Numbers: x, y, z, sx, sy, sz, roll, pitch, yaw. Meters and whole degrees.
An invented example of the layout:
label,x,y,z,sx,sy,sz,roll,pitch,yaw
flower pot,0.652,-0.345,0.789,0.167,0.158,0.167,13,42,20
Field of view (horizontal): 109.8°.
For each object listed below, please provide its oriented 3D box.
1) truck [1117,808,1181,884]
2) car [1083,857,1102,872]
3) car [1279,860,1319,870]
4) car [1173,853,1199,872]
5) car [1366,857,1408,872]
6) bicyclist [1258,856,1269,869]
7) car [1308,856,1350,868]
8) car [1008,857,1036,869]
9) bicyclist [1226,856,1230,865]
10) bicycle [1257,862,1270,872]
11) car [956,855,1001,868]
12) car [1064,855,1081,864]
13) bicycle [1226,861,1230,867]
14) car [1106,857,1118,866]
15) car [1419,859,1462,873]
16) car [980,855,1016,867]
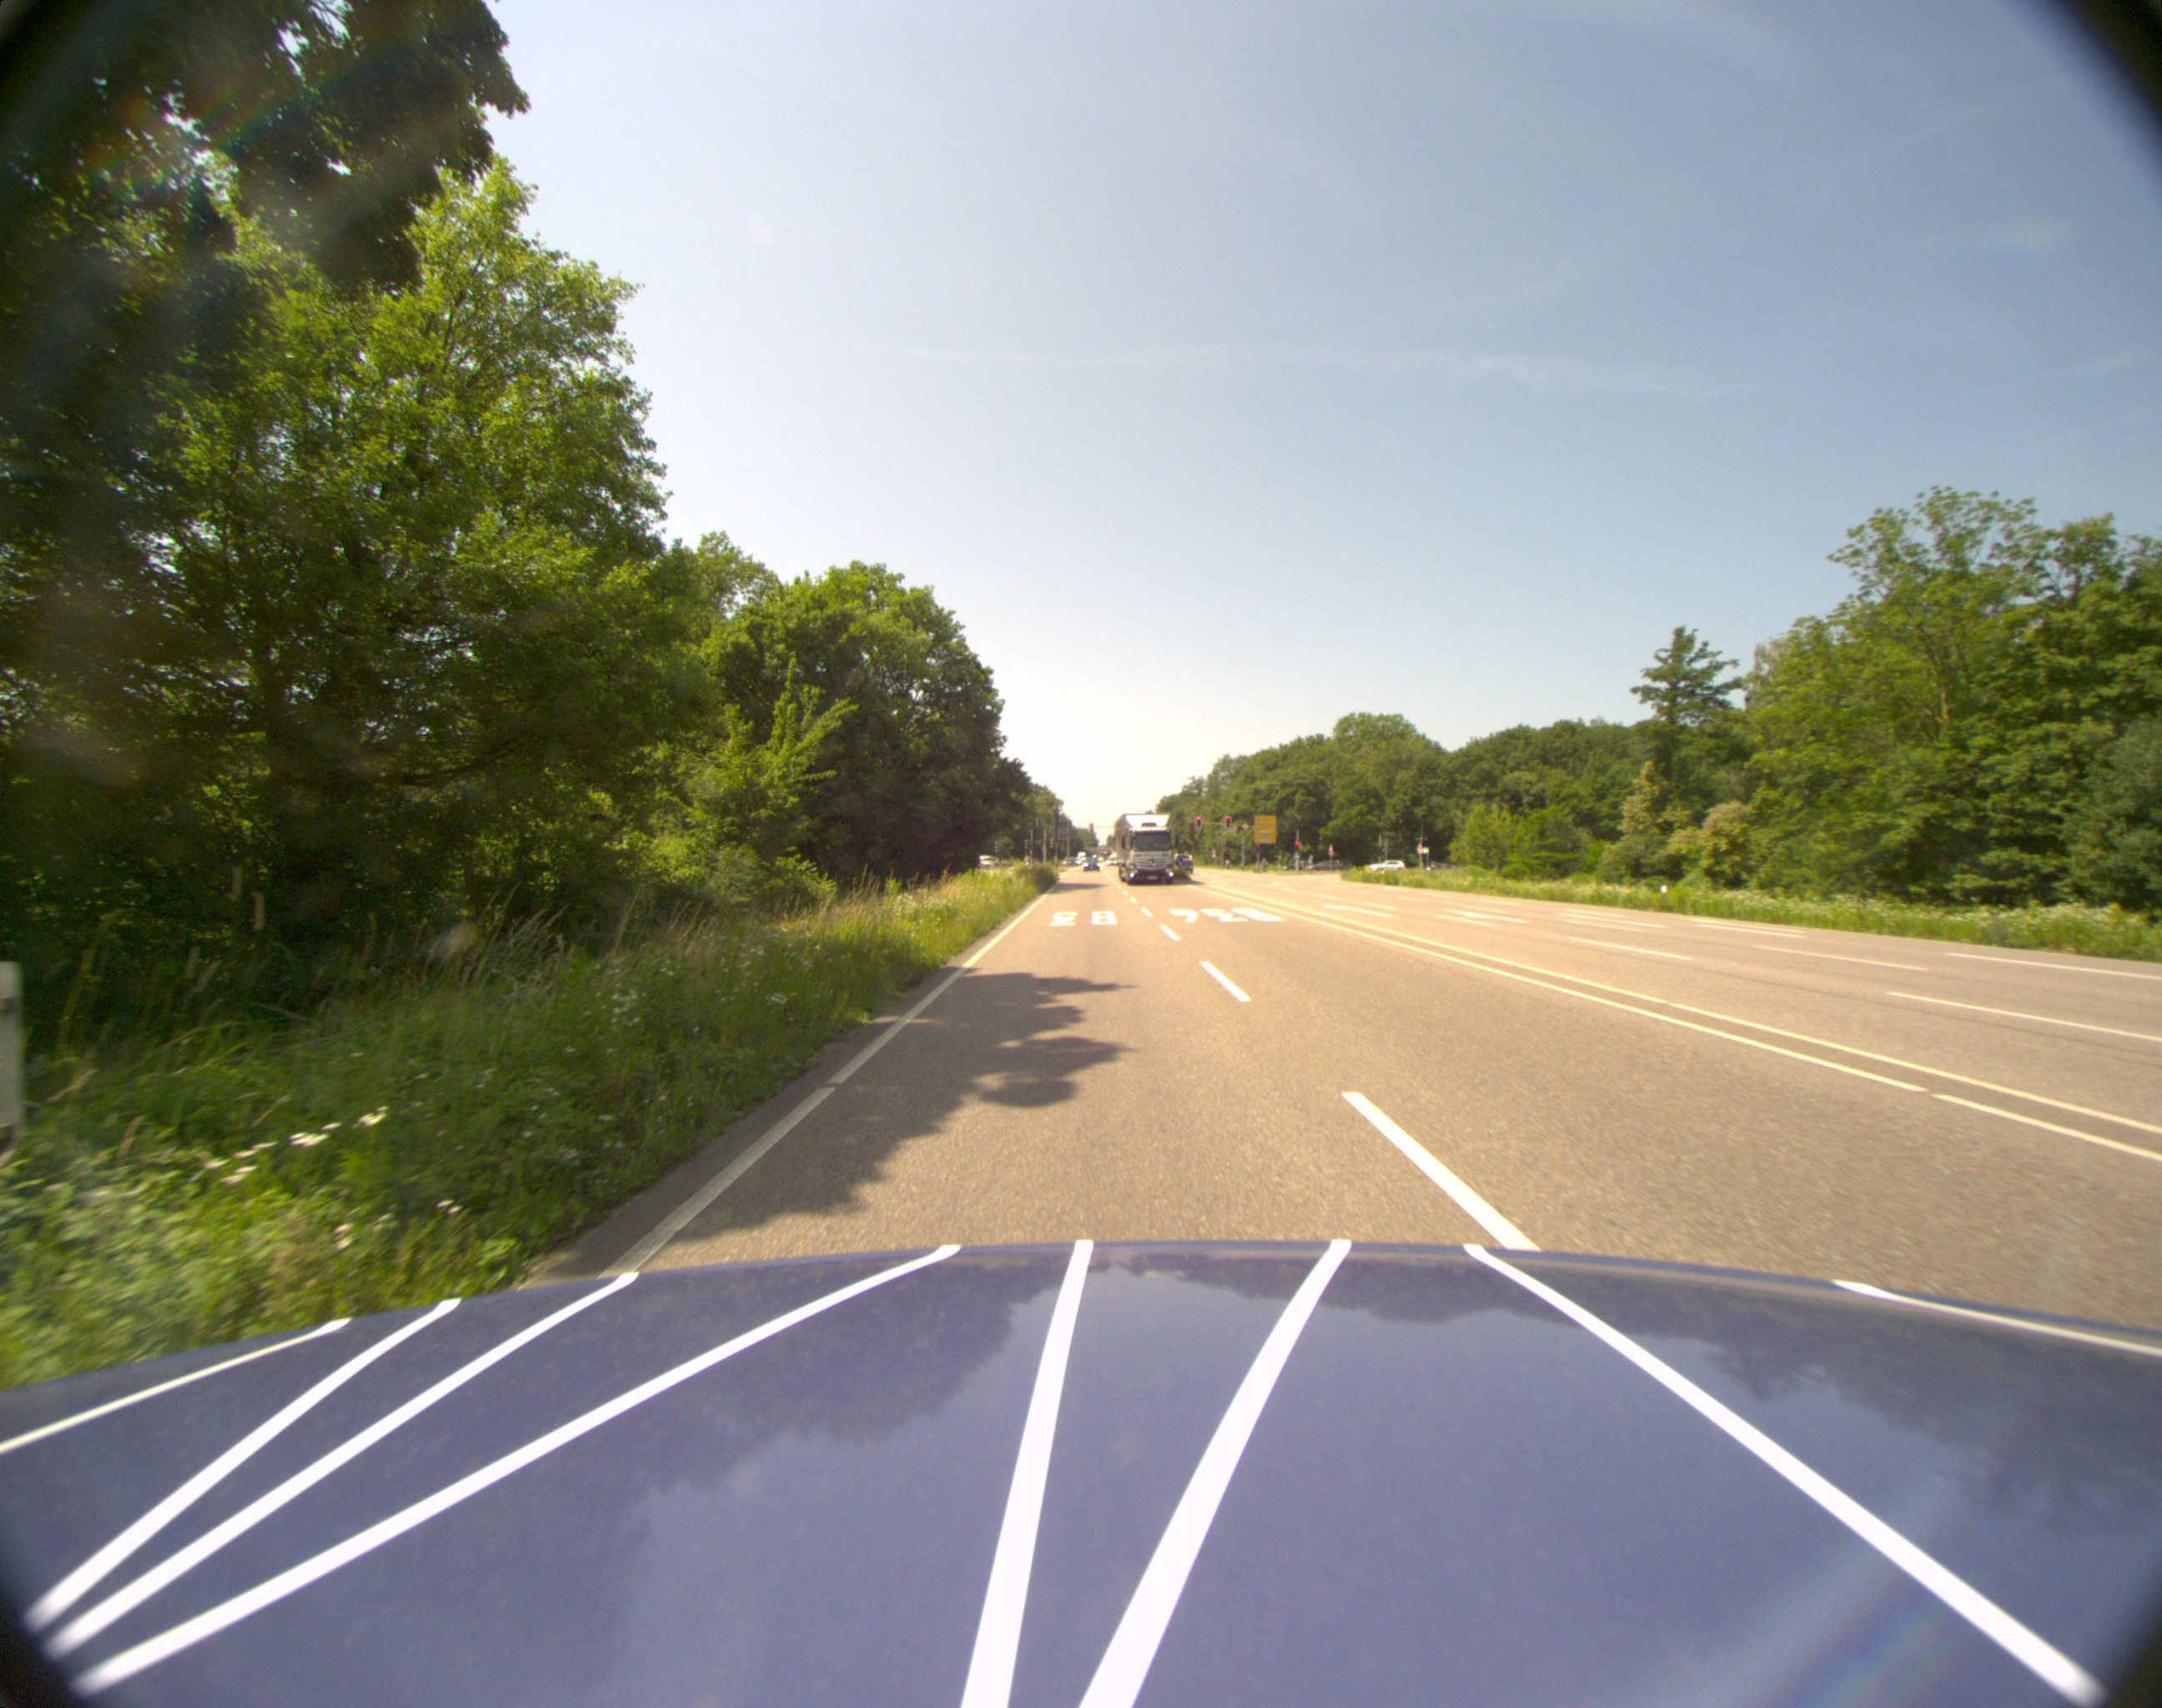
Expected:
label,x,y,z,sx,sy,sz,roll,pitch,yaw
truck,3.728,-0.394,44.501,2.753,3.862,11.320,-1,0,0
car,1.203,1.092,79.834,1.992,1.575,4.365,0,0,0
car,29.515,1.459,102.820,4.816,1.283,2.106,1,0,2
car,10.126,0.794,73.650,1.998,1.668,5.366,2,0,2
car,41.306,1.391,102.670,4.816,1.884,2.067,1,0,2
bicyclist,20.406,0.950,84.901,0.924,1.451,0.718,1,0,39
car,32.211,1.060,98.644,4.817,1.509,1.862,1,0,0
car,-8.766,1.380,112.885,3.743,1.681,1.737,-1,1,-41
bicyclist,22.423,0.977,115.800,0.660,1.456,0.811,1,0,10
bicycle,20.392,1.435,84.925,0.722,1.057,1.874,1,0,39
car,-12.039,0.865,89.722,4.943,1.490,2.020,0,1,2
car,-1.395,0.886,127.106,1.794,1.431,4.233,0,0,15
bicycle,22.431,1.518,115.852,0.566,0.918,1.606,1,0,11
car,5.282,1.257,129.421,1.998,1.543,4.000,1,0,1
car,48.446,1.626,102.421,4.817,1.747,2.000,1,0,0
car,-10.151,0.869,93.261,4.102,1.438,1.995,1,0,0
